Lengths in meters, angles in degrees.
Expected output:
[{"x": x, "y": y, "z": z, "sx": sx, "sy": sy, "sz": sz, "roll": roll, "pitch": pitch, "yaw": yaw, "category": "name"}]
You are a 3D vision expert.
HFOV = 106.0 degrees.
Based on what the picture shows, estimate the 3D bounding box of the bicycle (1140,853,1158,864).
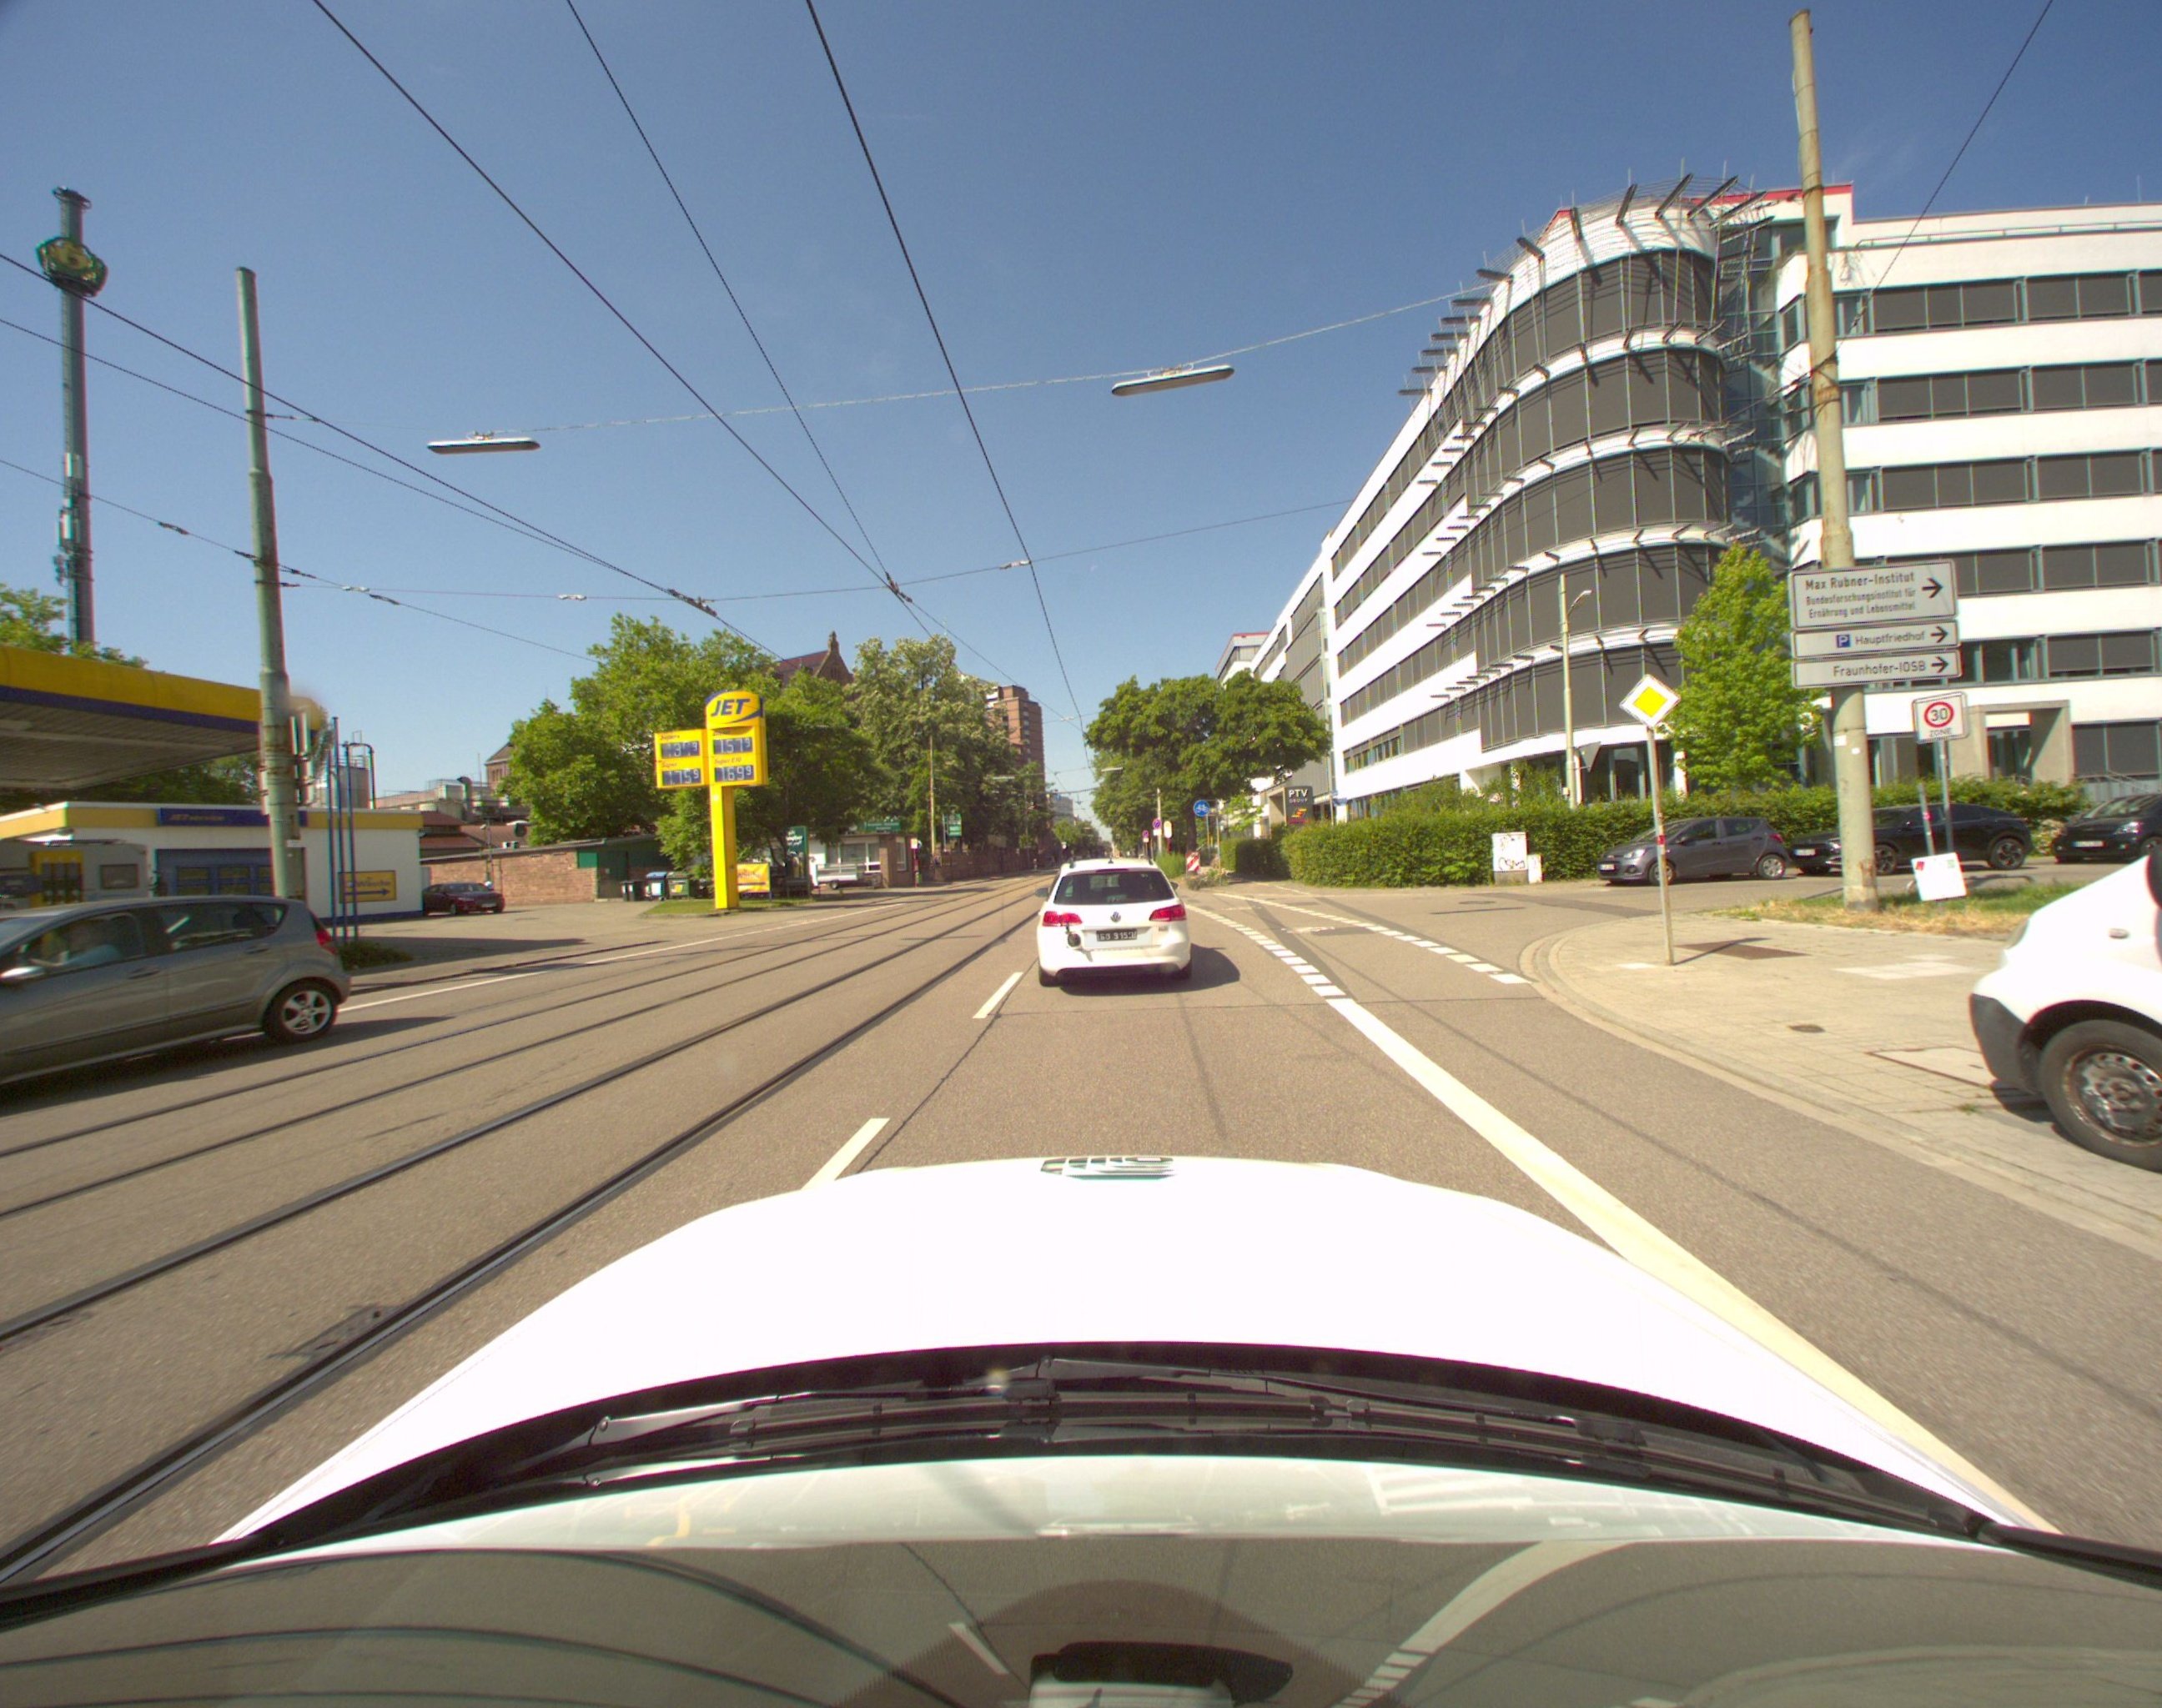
[{"x": 7.238, "y": 0.449, "z": 86.539, "sx": 1.905, "sy": 1.083, "sz": 0.550, "roll": -1, "pitch": 0, "yaw": 0, "category": "bicycle"}]

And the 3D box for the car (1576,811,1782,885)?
[{"x": 13.904, "y": -0.137, "z": 19.094, "sx": 3.578, "sy": 1.473, "sz": 1.594, "roll": -3, "pitch": 0, "yaw": 3, "category": "car"}]

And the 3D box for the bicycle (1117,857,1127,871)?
[{"x": 3.447, "y": 0.801, "z": 68.059, "sx": 0.807, "sy": 1.078, "sz": 2.014, "roll": -3, "pitch": 0, "yaw": 4, "category": "bicycle"}]

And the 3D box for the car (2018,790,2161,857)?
[{"x": 23.870, "y": -0.708, "z": 18.617, "sx": 2.893, "sy": 1.411, "sz": 1.659, "roll": -3, "pitch": 0, "yaw": 3, "category": "car"}]

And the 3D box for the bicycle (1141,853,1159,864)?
[{"x": 6.921, "y": 0.455, "z": 81.548, "sx": 1.768, "sy": 1.083, "sz": 0.596, "roll": -3, "pitch": 0, "yaw": 0, "category": "bicycle"}]

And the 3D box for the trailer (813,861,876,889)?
[{"x": -14.339, "y": 1.253, "z": 49.547, "sx": 3.201, "sy": 1.525, "sz": 1.780, "roll": -3, "pitch": 0, "yaw": 4, "category": "trailer"}]

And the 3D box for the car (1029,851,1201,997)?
[{"x": 0.435, "y": 0.720, "z": 10.678, "sx": 1.747, "sy": 1.442, "sz": 4.415, "roll": -2, "pitch": 1, "yaw": 2, "category": "car"}]

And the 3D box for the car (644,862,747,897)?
[{"x": -20.806, "y": 1.370, "z": 44.084, "sx": 4.604, "sy": 1.583, "sz": 1.926, "roll": -3, "pitch": 0, "yaw": -42, "category": "car"}]

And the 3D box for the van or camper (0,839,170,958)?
[{"x": -28.414, "y": 1.117, "z": 20.816, "sx": 2.583, "sy": 2.967, "sz": 6.755, "roll": 0, "pitch": 0, "yaw": 40, "category": "van or camper"}]

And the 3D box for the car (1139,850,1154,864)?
[{"x": 7.379, "y": 0.356, "z": 92.462, "sx": 1.584, "sy": 1.451, "sz": 3.950, "roll": -3, "pitch": 0, "yaw": 4, "category": "car"}]

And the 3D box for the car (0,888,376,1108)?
[{"x": -9.027, "y": 1.220, "z": 7.250, "sx": 1.736, "sy": 1.571, "sz": 3.900, "roll": -4, "pitch": -1, "yaw": 8, "category": "car"}]

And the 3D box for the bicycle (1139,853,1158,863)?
[{"x": 7.228, "y": 0.444, "z": 87.139, "sx": 1.905, "sy": 1.083, "sz": 0.550, "roll": 0, "pitch": 0, "yaw": 0, "category": "bicycle"}]

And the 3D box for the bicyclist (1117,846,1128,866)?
[{"x": 3.455, "y": 0.199, "z": 68.191, "sx": 0.782, "sy": 1.629, "sz": 0.739, "roll": -3, "pitch": -1, "yaw": 3, "category": "bicyclist"}]

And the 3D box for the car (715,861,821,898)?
[{"x": -15.888, "y": 1.261, "z": 41.488, "sx": 4.605, "sy": 1.625, "sz": 1.926, "roll": -3, "pitch": 0, "yaw": -43, "category": "car"}]

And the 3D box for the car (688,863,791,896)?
[{"x": -17.946, "y": 1.312, "z": 42.963, "sx": 4.605, "sy": 1.467, "sz": 1.926, "roll": -3, "pitch": 0, "yaw": -43, "category": "car"}]

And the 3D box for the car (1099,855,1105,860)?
[{"x": 6.660, "y": 1.169, "z": 255.144, "sx": 1.487, "sy": 1.384, "sz": 3.646, "roll": -3, "pitch": 0, "yaw": 4, "category": "car"}]

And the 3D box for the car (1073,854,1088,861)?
[{"x": -0.248, "y": 1.174, "z": 245.172, "sx": 4.015, "sy": 1.816, "sz": 1.979, "roll": -3, "pitch": 0, "yaw": -33, "category": "car"}]

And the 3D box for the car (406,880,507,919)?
[{"x": -27.386, "y": 1.996, "z": 35.680, "sx": 4.118, "sy": 1.527, "sz": 1.949, "roll": -3, "pitch": -1, "yaw": 28, "category": "car"}]

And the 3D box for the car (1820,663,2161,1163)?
[{"x": 5.316, "y": 0.196, "z": 2.233, "sx": 1.968, "sy": 2.054, "sz": 5.196, "roll": -5, "pitch": 1, "yaw": 4, "category": "car"}]

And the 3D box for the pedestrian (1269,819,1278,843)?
[{"x": 13.873, "y": -1.667, "z": 58.765, "sx": 0.496, "sy": 1.728, "sz": 0.547, "roll": -3, "pitch": 0, "yaw": 2, "category": "pedestrian"}]

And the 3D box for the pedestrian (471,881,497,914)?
[{"x": -28.059, "y": 2.036, "z": 38.294, "sx": 0.672, "sy": 1.468, "sz": 0.641, "roll": -3, "pitch": 0, "yaw": 11, "category": "pedestrian"}]

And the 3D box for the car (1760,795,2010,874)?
[{"x": 18.359, "y": -0.427, "z": 18.749, "sx": 3.970, "sy": 1.547, "sz": 1.659, "roll": -3, "pitch": 0, "yaw": 3, "category": "car"}]
